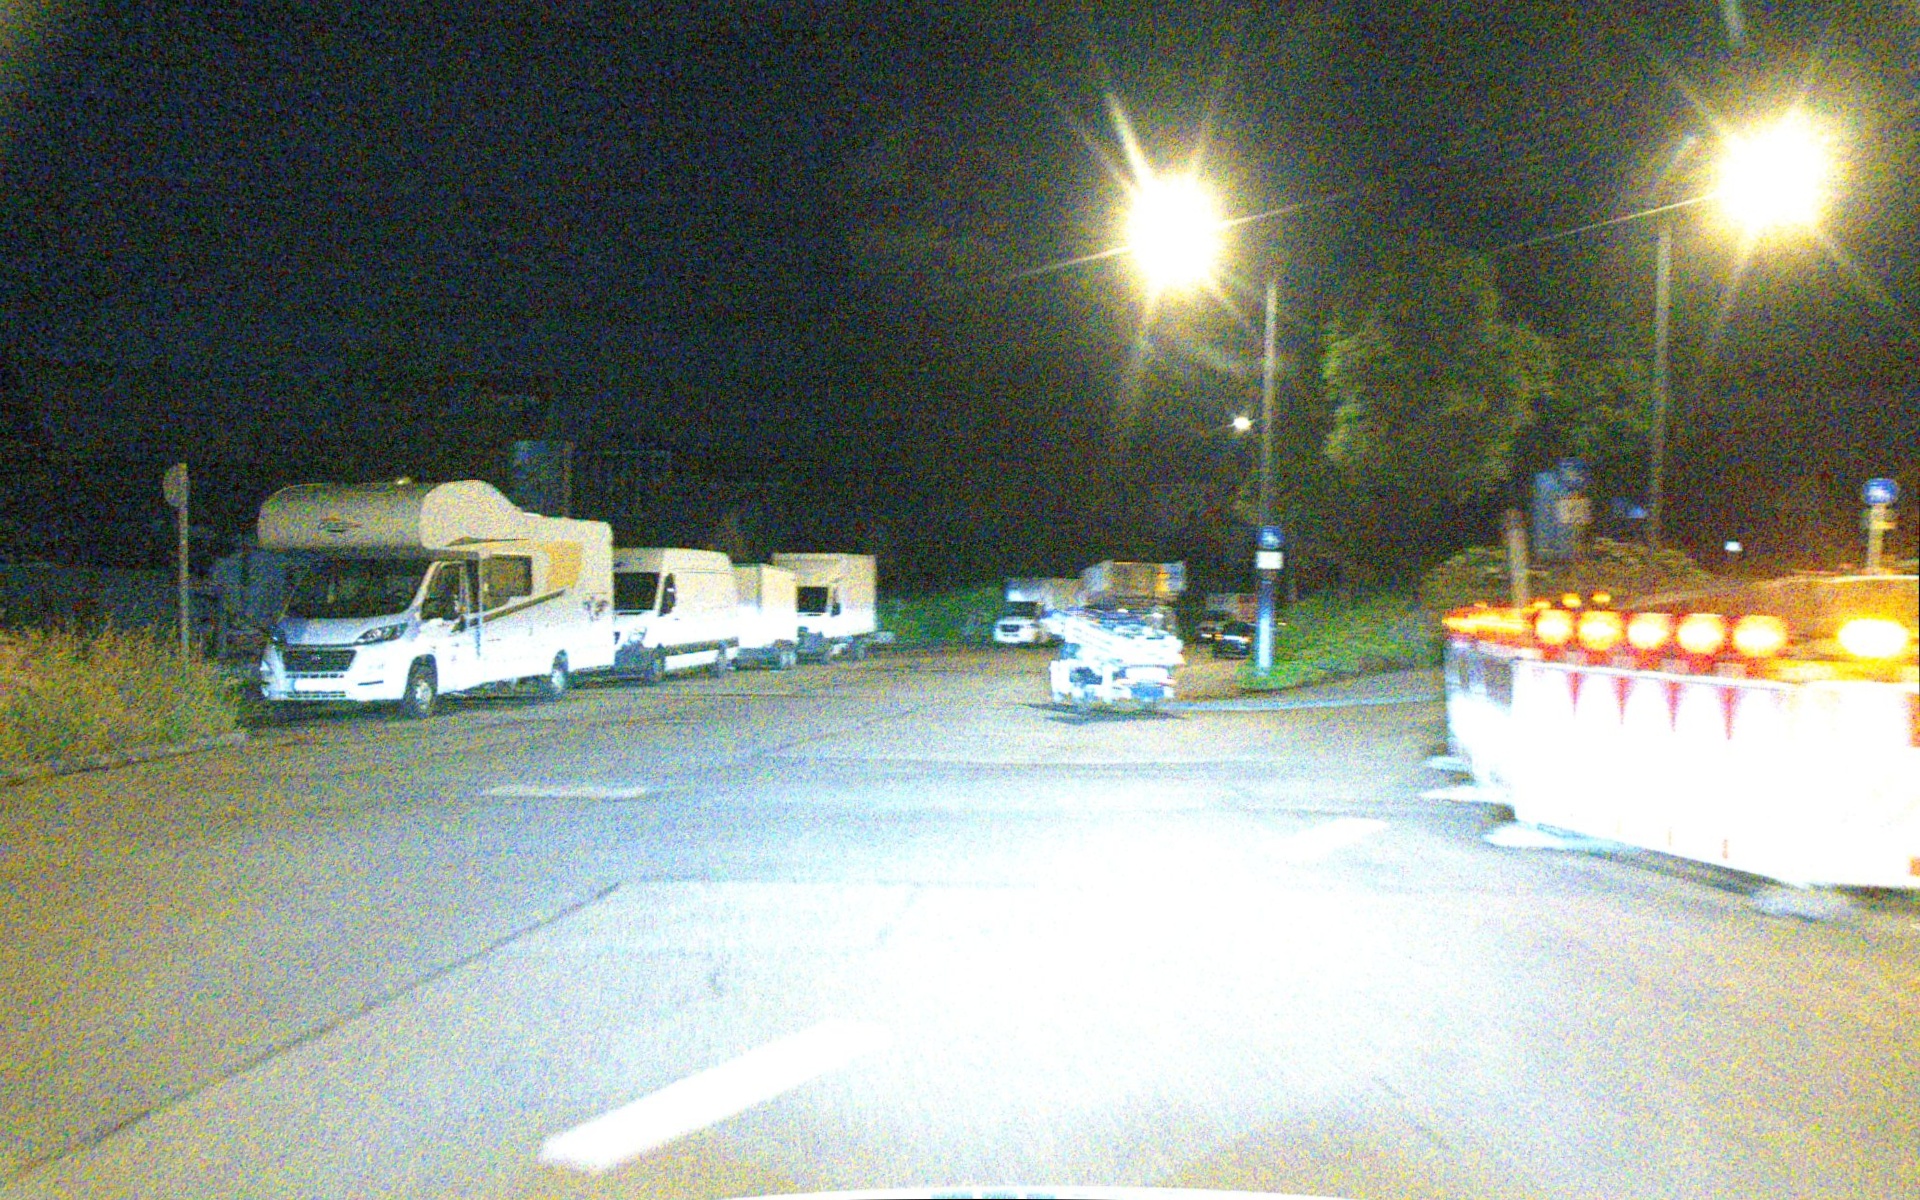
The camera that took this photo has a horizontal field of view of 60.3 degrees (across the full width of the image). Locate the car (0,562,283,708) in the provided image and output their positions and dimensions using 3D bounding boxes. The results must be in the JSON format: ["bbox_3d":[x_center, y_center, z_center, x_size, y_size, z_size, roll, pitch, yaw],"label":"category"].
[{"bbox_3d":[-18.442,0.693,36.286,1.958,2.891,6.661,3,1,32],"label":"car"}]

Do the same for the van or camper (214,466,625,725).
[{"bbox_3d":[-7.388,-0.040,23.948,2.465,3.148,7.451,0,0,10],"label":"van or camper"}]

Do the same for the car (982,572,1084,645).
[{"bbox_3d":[3.469,0.385,76.588,2.467,3.227,7.137,0,0,22],"label":"car"}]

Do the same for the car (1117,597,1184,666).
[{"bbox_3d":[5.589,0.917,48.153,1.684,1.853,4.003,2,-1,9],"label":"car"}]

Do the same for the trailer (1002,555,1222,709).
[{"bbox_3d":[2.257,0.479,26.224,1.535,2.198,5.194,0,-1,-18],"label":"trailer"}]

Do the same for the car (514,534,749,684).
[{"bbox_3d":[-6.301,0.169,32.949,2.465,2.651,7.096,0,0,7],"label":"car"}]

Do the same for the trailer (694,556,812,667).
[{"bbox_3d":[-4.960,0.263,40.074,1.951,2.572,3.571,0,0,8],"label":"trailer"}]

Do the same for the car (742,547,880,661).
[{"bbox_3d":[-4.096,0.118,47.087,2.465,2.978,7.206,0,0,7],"label":"car"}]

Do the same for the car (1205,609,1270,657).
[{"bbox_3d":[11.532,1.365,68.478,1.686,1.853,3.998,2,-1,24],"label":"car"}]

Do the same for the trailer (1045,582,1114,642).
[{"bbox_3d":[5.987,0.582,82.480,1.953,2.862,4.701,1,1,23],"label":"trailer"}]

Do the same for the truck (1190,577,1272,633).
[{"bbox_3d":[17.892,0.328,108.723,1.958,3.463,8.956,3,1,32],"label":"truck"}]
